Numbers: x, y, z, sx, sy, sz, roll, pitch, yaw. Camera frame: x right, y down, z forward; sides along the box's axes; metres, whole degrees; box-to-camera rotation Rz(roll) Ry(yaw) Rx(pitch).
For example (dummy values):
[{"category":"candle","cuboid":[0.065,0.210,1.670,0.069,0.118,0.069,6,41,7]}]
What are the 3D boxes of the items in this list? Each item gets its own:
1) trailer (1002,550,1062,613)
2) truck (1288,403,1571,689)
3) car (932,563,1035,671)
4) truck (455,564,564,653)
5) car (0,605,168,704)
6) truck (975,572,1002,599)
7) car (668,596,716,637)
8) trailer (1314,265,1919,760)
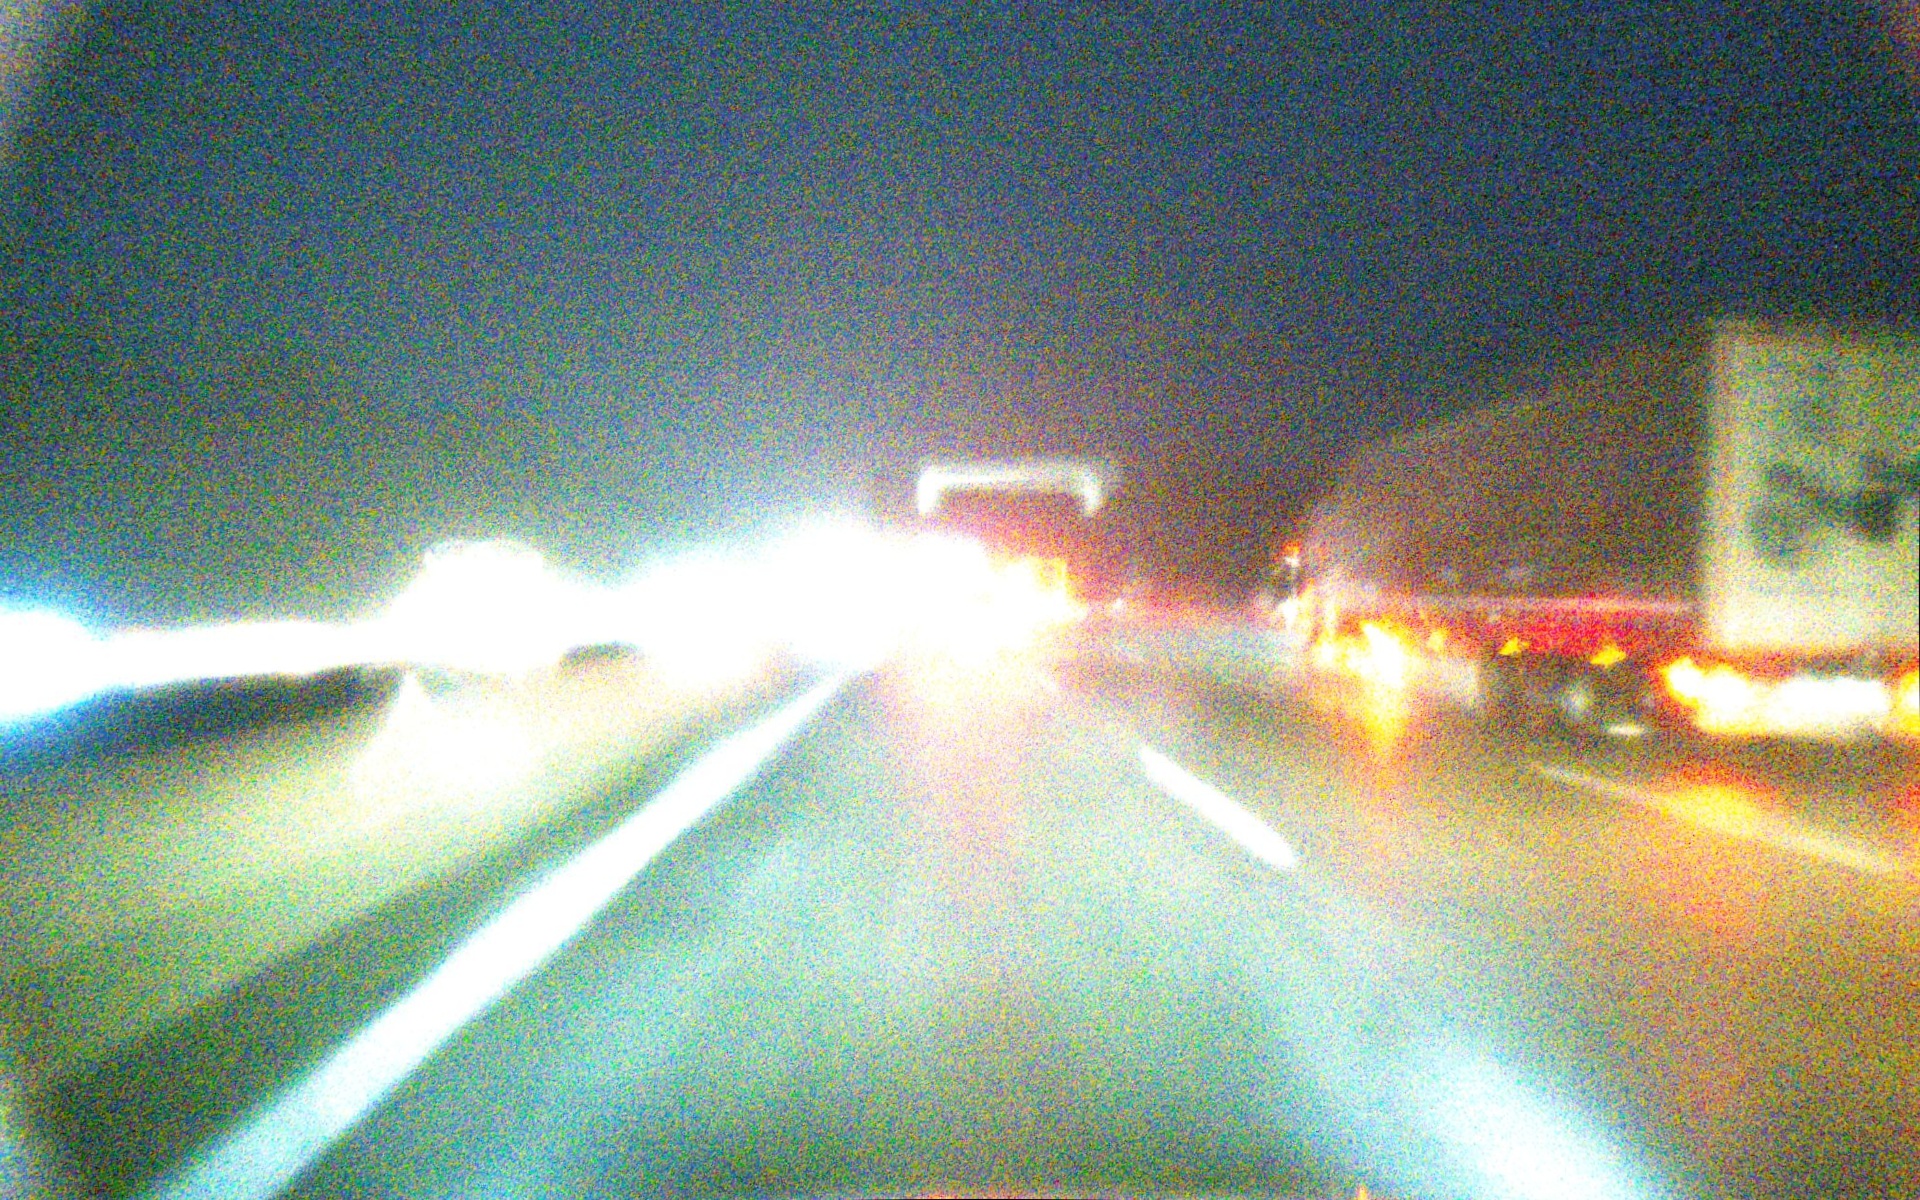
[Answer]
[{"category":"trailer","cuboid":[5.067,-1.235,119.135,2.980,4.180,13.821,-2,0,-2]},{"category":"truck","cuboid":[7.590,-0.819,27.649,2.844,4.180,6.029,-1,0,-1]},{"category":"car","cuboid":[0.418,0.351,34.065,1.953,2.049,3.999,1,-1,-1]},{"category":"truck","cuboid":[-21.437,0.342,79.395,2.810,3.976,10.207,-1,0,-3]},{"category":"car","cuboid":[-16.428,0.917,29.889,1.952,1.587,4.534,0,1,1]},{"category":"truck","cuboid":[3.865,-1.938,226.216,2.976,3.355,11.374,-2,0,-2]},{"category":"car","cuboid":[-14.052,0.866,86.961,1.953,2.049,3.999,-1,0,-1]},{"category":"trailer","cuboid":[7.707,-0.788,21.351,2.844,4.180,14.484,-1,0,-1]}]
